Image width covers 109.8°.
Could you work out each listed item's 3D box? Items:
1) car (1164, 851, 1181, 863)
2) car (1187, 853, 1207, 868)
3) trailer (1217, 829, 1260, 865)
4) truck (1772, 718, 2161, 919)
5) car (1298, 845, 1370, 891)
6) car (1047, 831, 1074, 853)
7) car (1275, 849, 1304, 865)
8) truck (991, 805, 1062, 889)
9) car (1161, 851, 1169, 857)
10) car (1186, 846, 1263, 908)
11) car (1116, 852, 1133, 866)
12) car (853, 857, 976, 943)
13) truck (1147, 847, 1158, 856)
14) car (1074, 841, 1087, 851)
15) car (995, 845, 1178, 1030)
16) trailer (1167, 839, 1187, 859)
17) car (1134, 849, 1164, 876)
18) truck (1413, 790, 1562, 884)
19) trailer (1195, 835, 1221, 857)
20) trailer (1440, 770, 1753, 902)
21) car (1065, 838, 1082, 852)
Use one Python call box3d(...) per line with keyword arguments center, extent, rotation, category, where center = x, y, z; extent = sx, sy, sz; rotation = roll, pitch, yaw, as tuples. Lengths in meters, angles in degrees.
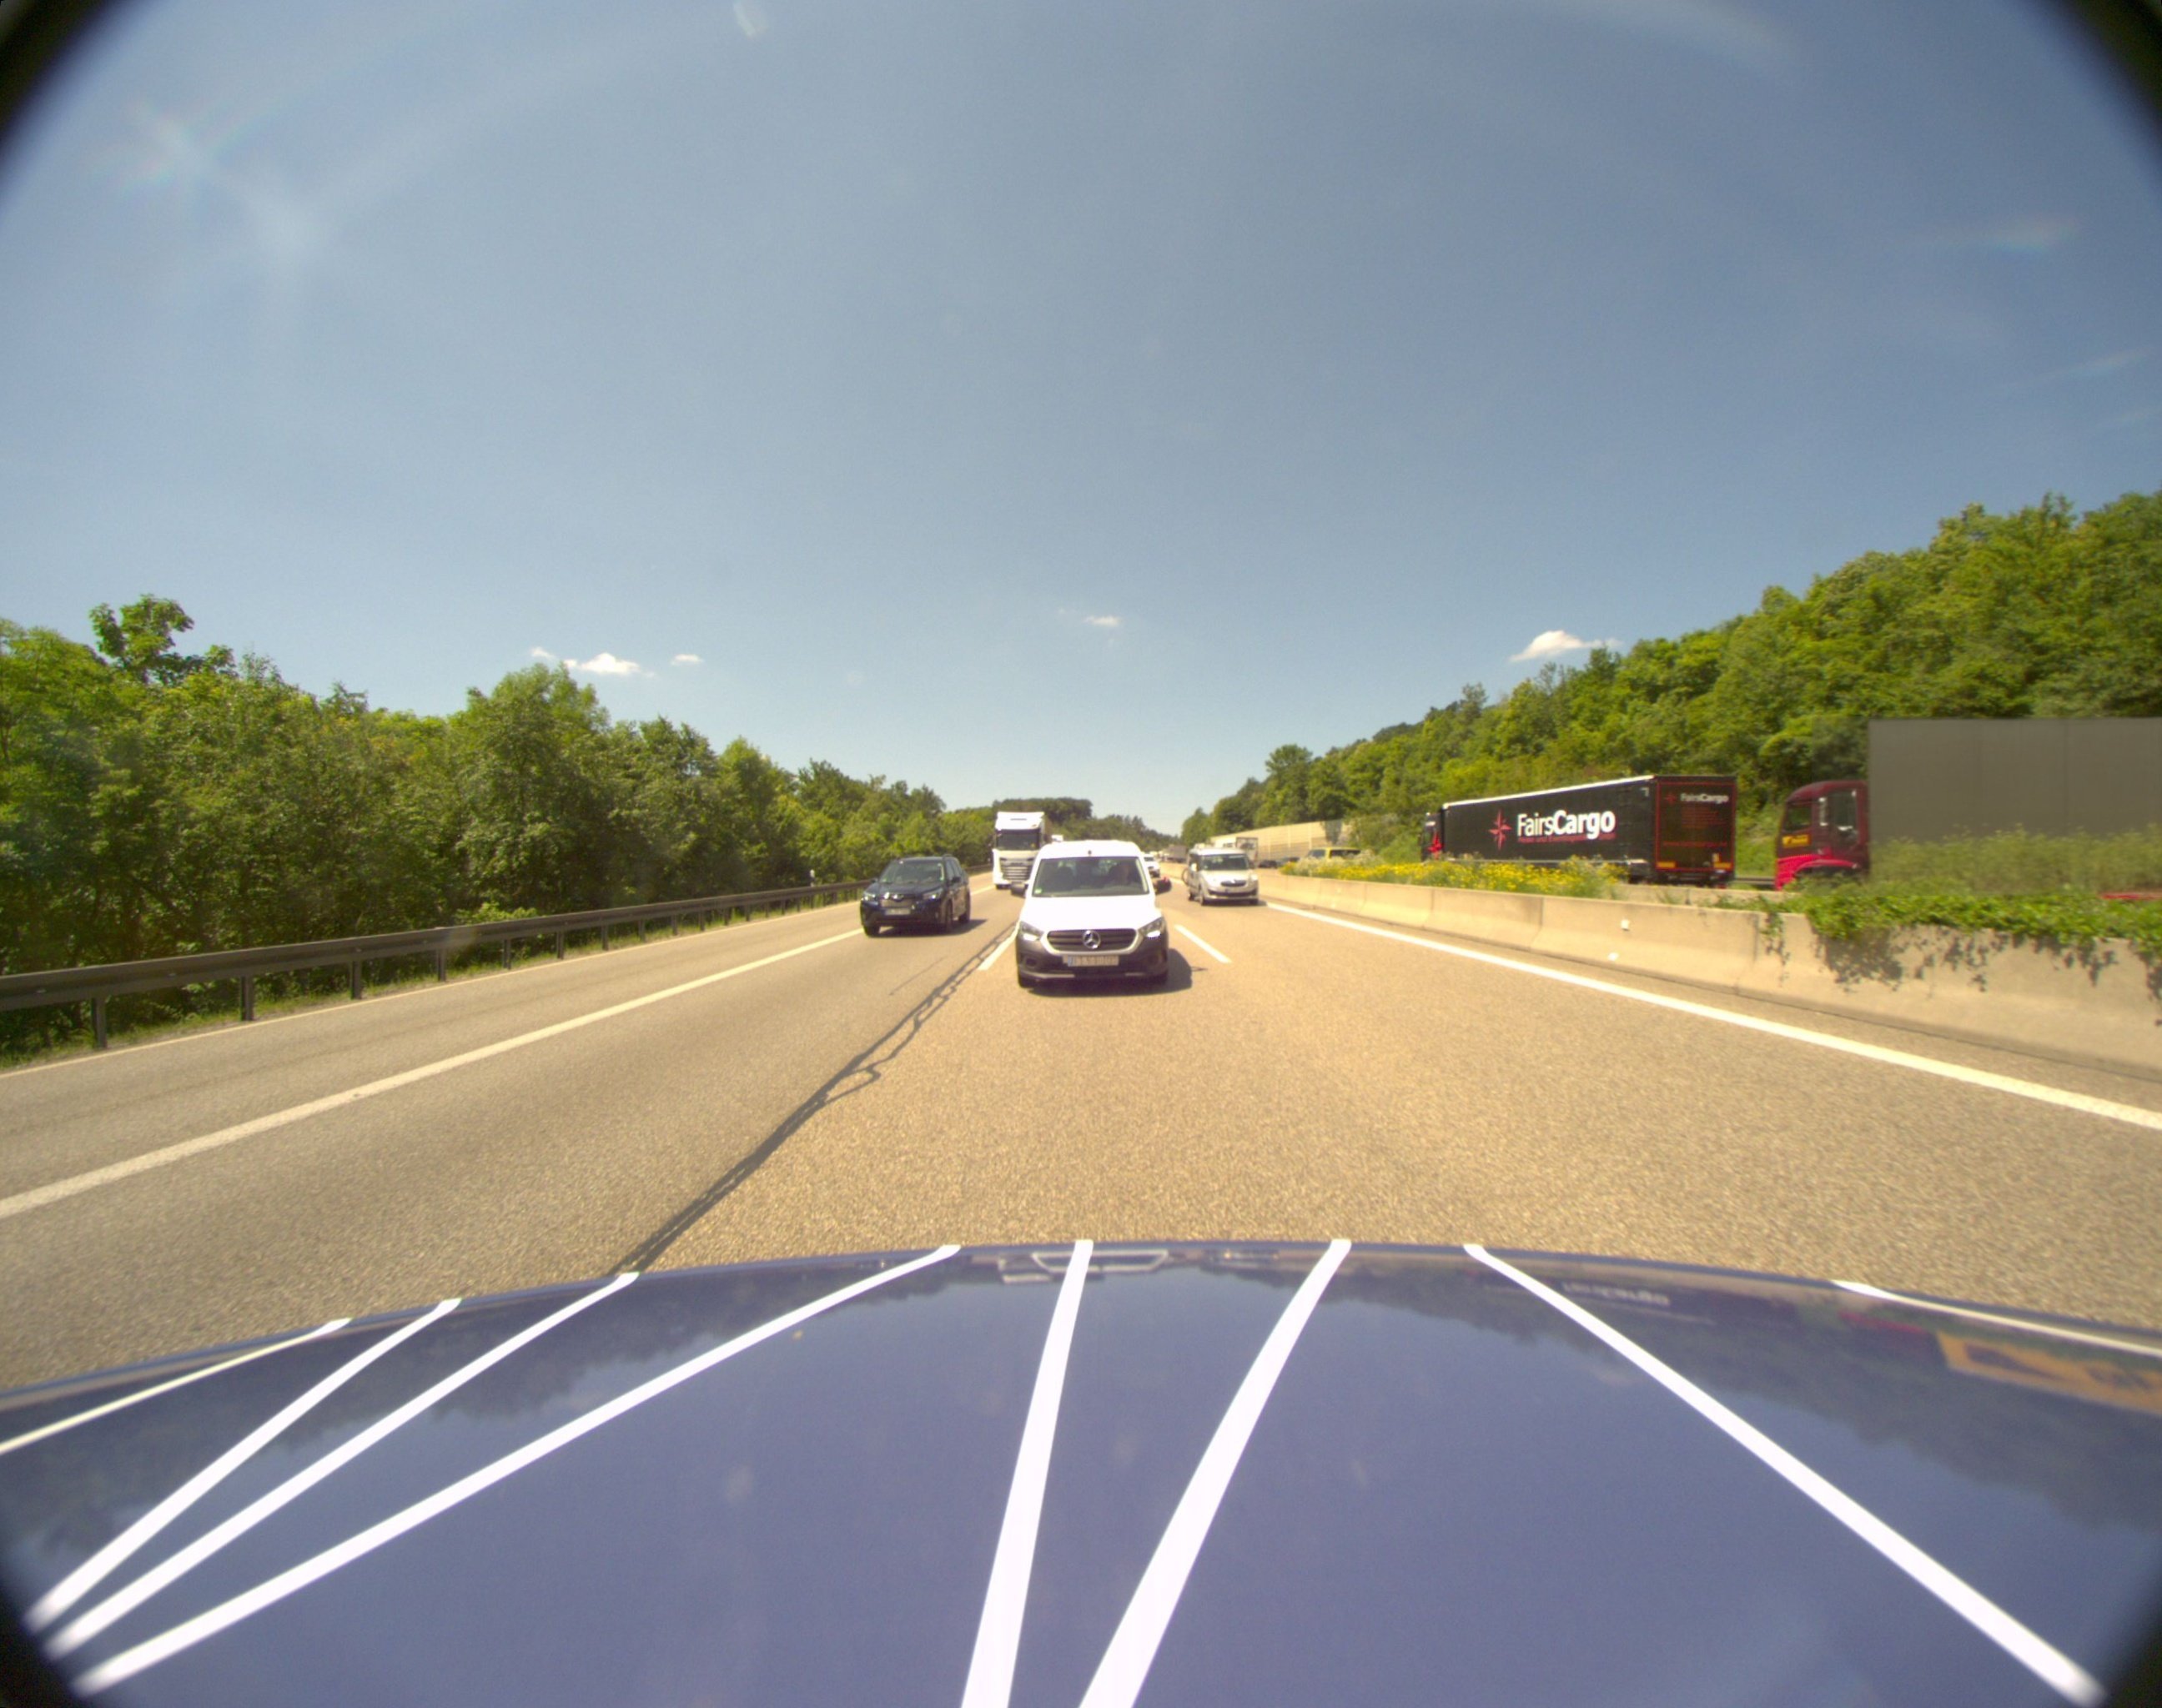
box3d(center=(13.971, 0.404, 116.077), extent=(1.888, 1.745, 4.787), rotation=(-2, 0, 0), category="car")
box3d(center=(12.527, 0.688, 82.181), extent=(1.567, 1.510, 4.000), rotation=(0, 0, 0), category="car")
box3d(center=(19.898, -0.932, 97.028), extent=(2.810, 4.313, 14.035), rotation=(0, 1, 1), category="trailer")
box3d(center=(22.793, -0.704, 15.244), extent=(3.045, 3.960, 16.263), rotation=(0, 1, 0), category="truck")
box3d(center=(11.981, 0.609, 36.306), extent=(1.884, 2.002, 4.468), rotation=(2, 1, 1), category="car")
box3d(center=(-2.436, -1.407, 90.498), extent=(2.721, 2.534, 5.941), rotation=(1, 1, 3), category="car")
box3d(center=(18.533, 0.260, 67.692), extent=(1.567, 1.358, 4.000), rotation=(0, 0, 0), category="car")
box3d(center=(-2.963, -0.407, 46.344), extent=(2.790, 4.144, 16.267), rotation=(-2, 0, 1), category="truck")
box3d(center=(27.372, 0.016, 247.005), extent=(1.998, 2.002, 4.000), rotation=(-2, 0, 1), category="car")
box3d(center=(4.525, 0.683, 24.549), extent=(1.780, 1.833, 4.000), rotation=(0, 0, 1), category="car")
box3d(center=(5.556, 0.625, 97.366), extent=(1.998, 1.783, 4.000), rotation=(-2, 0, 0), category="car")
box3d(center=(-3.678, 0.946, 17.550), extent=(1.816, 1.658, 4.203), rotation=(-2, 0, 1), category="car")
box3d(center=(22.905, -0.710, 245.115), extent=(2.534, 2.673, 11.626), rotation=(1, 1, 1), category="truck")
box3d(center=(-0.108, -1.938, 182.959), extent=(2.721, 2.534, 5.941), rotation=(1, 1, 3), category="car")
box3d(center=(0.122, 0.806, 9.505), extent=(1.729, 1.760, 4.313), rotation=(-1, 0, 2), category="car")
box3d(center=(20.890, -1.117, 166.050), extent=(2.842, 4.141, 14.737), rotation=(1, 1, 1), category="trailer")
box3d(center=(4.914, 0.565, 55.083), extent=(1.998, 1.827, 4.001), rotation=(1, 1, 3), category="car")
box3d(center=(19.017, -0.761, 36.263), extent=(2.913, 3.951, 7.767), rotation=(1, 1, 0), category="truck")
box3d(center=(23.879, -1.538, 143.546), extent=(2.814, 4.024, 12.624), rotation=(1, 1, 0), category="trailer")
box3d(center=(18.968, -0.644, 30.062), extent=(2.913, 3.951, 13.886), rotation=(1, 1, 0), category="trailer")
box3d(center=(-1.426, -1.757, 142.204), extent=(2.721, 2.534, 5.941), rotation=(1, 1, 3), category="car")
